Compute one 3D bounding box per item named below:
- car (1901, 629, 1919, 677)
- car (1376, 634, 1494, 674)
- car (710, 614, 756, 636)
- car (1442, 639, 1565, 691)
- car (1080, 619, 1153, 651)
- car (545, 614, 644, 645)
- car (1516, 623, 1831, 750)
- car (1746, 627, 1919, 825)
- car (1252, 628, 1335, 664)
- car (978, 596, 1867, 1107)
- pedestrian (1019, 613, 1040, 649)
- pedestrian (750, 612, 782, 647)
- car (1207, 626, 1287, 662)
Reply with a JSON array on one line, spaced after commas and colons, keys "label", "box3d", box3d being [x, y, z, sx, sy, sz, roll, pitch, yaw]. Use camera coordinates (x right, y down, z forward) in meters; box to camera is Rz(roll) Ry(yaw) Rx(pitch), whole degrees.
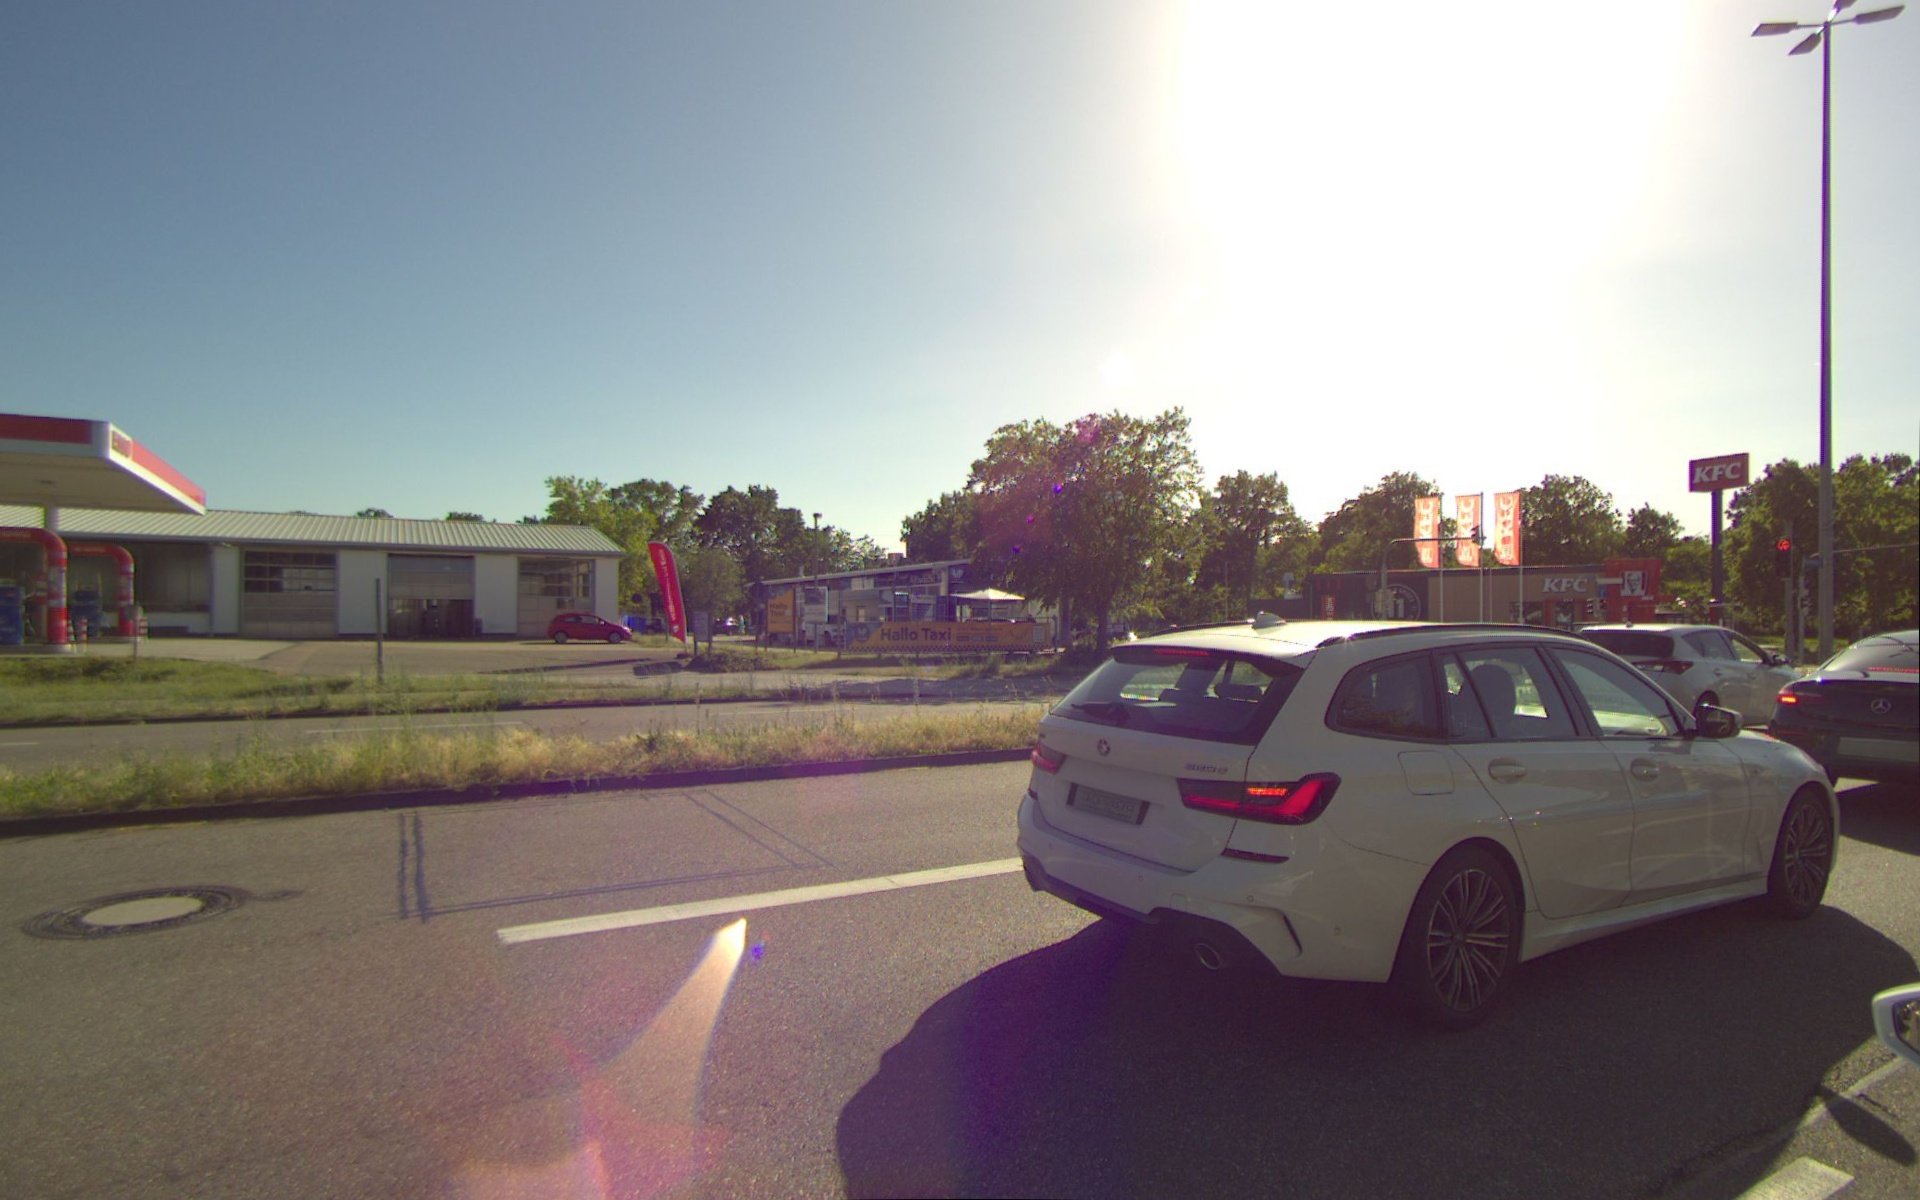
[{"label": "car", "box3d": [34.462, 1.801, 33.669, 3.981, 1.616, 1.820, 0, -1, 33]}, {"label": "car", "box3d": [19.395, 2.179, 41.261, 1.832, 1.449, 4.722, 0, -1, -14]}, {"label": "car", "box3d": [-19.933, 2.160, 88.253, 2.085, 1.840, 4.000, 0, -1, 20]}, {"label": "car", "box3d": [16.250, 1.893, 29.968, 4.015, 1.448, 1.805, 2, -3, -38]}, {"label": "car", "box3d": [9.474, 2.091, 61.150, 1.981, 1.869, 4.246, 1, -1, -36]}, {"label": "car", "box3d": [-18.025, 1.435, 49.547, 4.486, 1.458, 1.741, 1, -1, -26]}, {"label": "car", "box3d": [9.641, 1.050, 13.501, 4.352, 1.448, 1.848, 1, -1, -30]}, {"label": "car", "box3d": [8.795, 0.965, 8.619, 4.409, 1.433, 1.760, 1, -1, -30]}, {"label": "car", "box3d": [18.080, 2.447, 54.650, 1.975, 1.817, 4.058, 1, -1, -28]}, {"label": "car", "box3d": [2.416, 0.797, 4.899, 4.409, 1.529, 1.760, 1, -1, -30]}, {"label": "pedestrian", "box3d": [3.534, 1.562, 50.870, 0.804, 1.828, 0.951, 1, -1, -13]}, {"label": "pedestrian", "box3d": [-9.895, 1.489, 51.269, 1.140, 1.787, 1.096, 0, -1, 36]}, {"label": "car", "box3d": [14.930, 2.272, 52.388, 1.738, 1.751, 3.969, 1, -1, -29]}]
